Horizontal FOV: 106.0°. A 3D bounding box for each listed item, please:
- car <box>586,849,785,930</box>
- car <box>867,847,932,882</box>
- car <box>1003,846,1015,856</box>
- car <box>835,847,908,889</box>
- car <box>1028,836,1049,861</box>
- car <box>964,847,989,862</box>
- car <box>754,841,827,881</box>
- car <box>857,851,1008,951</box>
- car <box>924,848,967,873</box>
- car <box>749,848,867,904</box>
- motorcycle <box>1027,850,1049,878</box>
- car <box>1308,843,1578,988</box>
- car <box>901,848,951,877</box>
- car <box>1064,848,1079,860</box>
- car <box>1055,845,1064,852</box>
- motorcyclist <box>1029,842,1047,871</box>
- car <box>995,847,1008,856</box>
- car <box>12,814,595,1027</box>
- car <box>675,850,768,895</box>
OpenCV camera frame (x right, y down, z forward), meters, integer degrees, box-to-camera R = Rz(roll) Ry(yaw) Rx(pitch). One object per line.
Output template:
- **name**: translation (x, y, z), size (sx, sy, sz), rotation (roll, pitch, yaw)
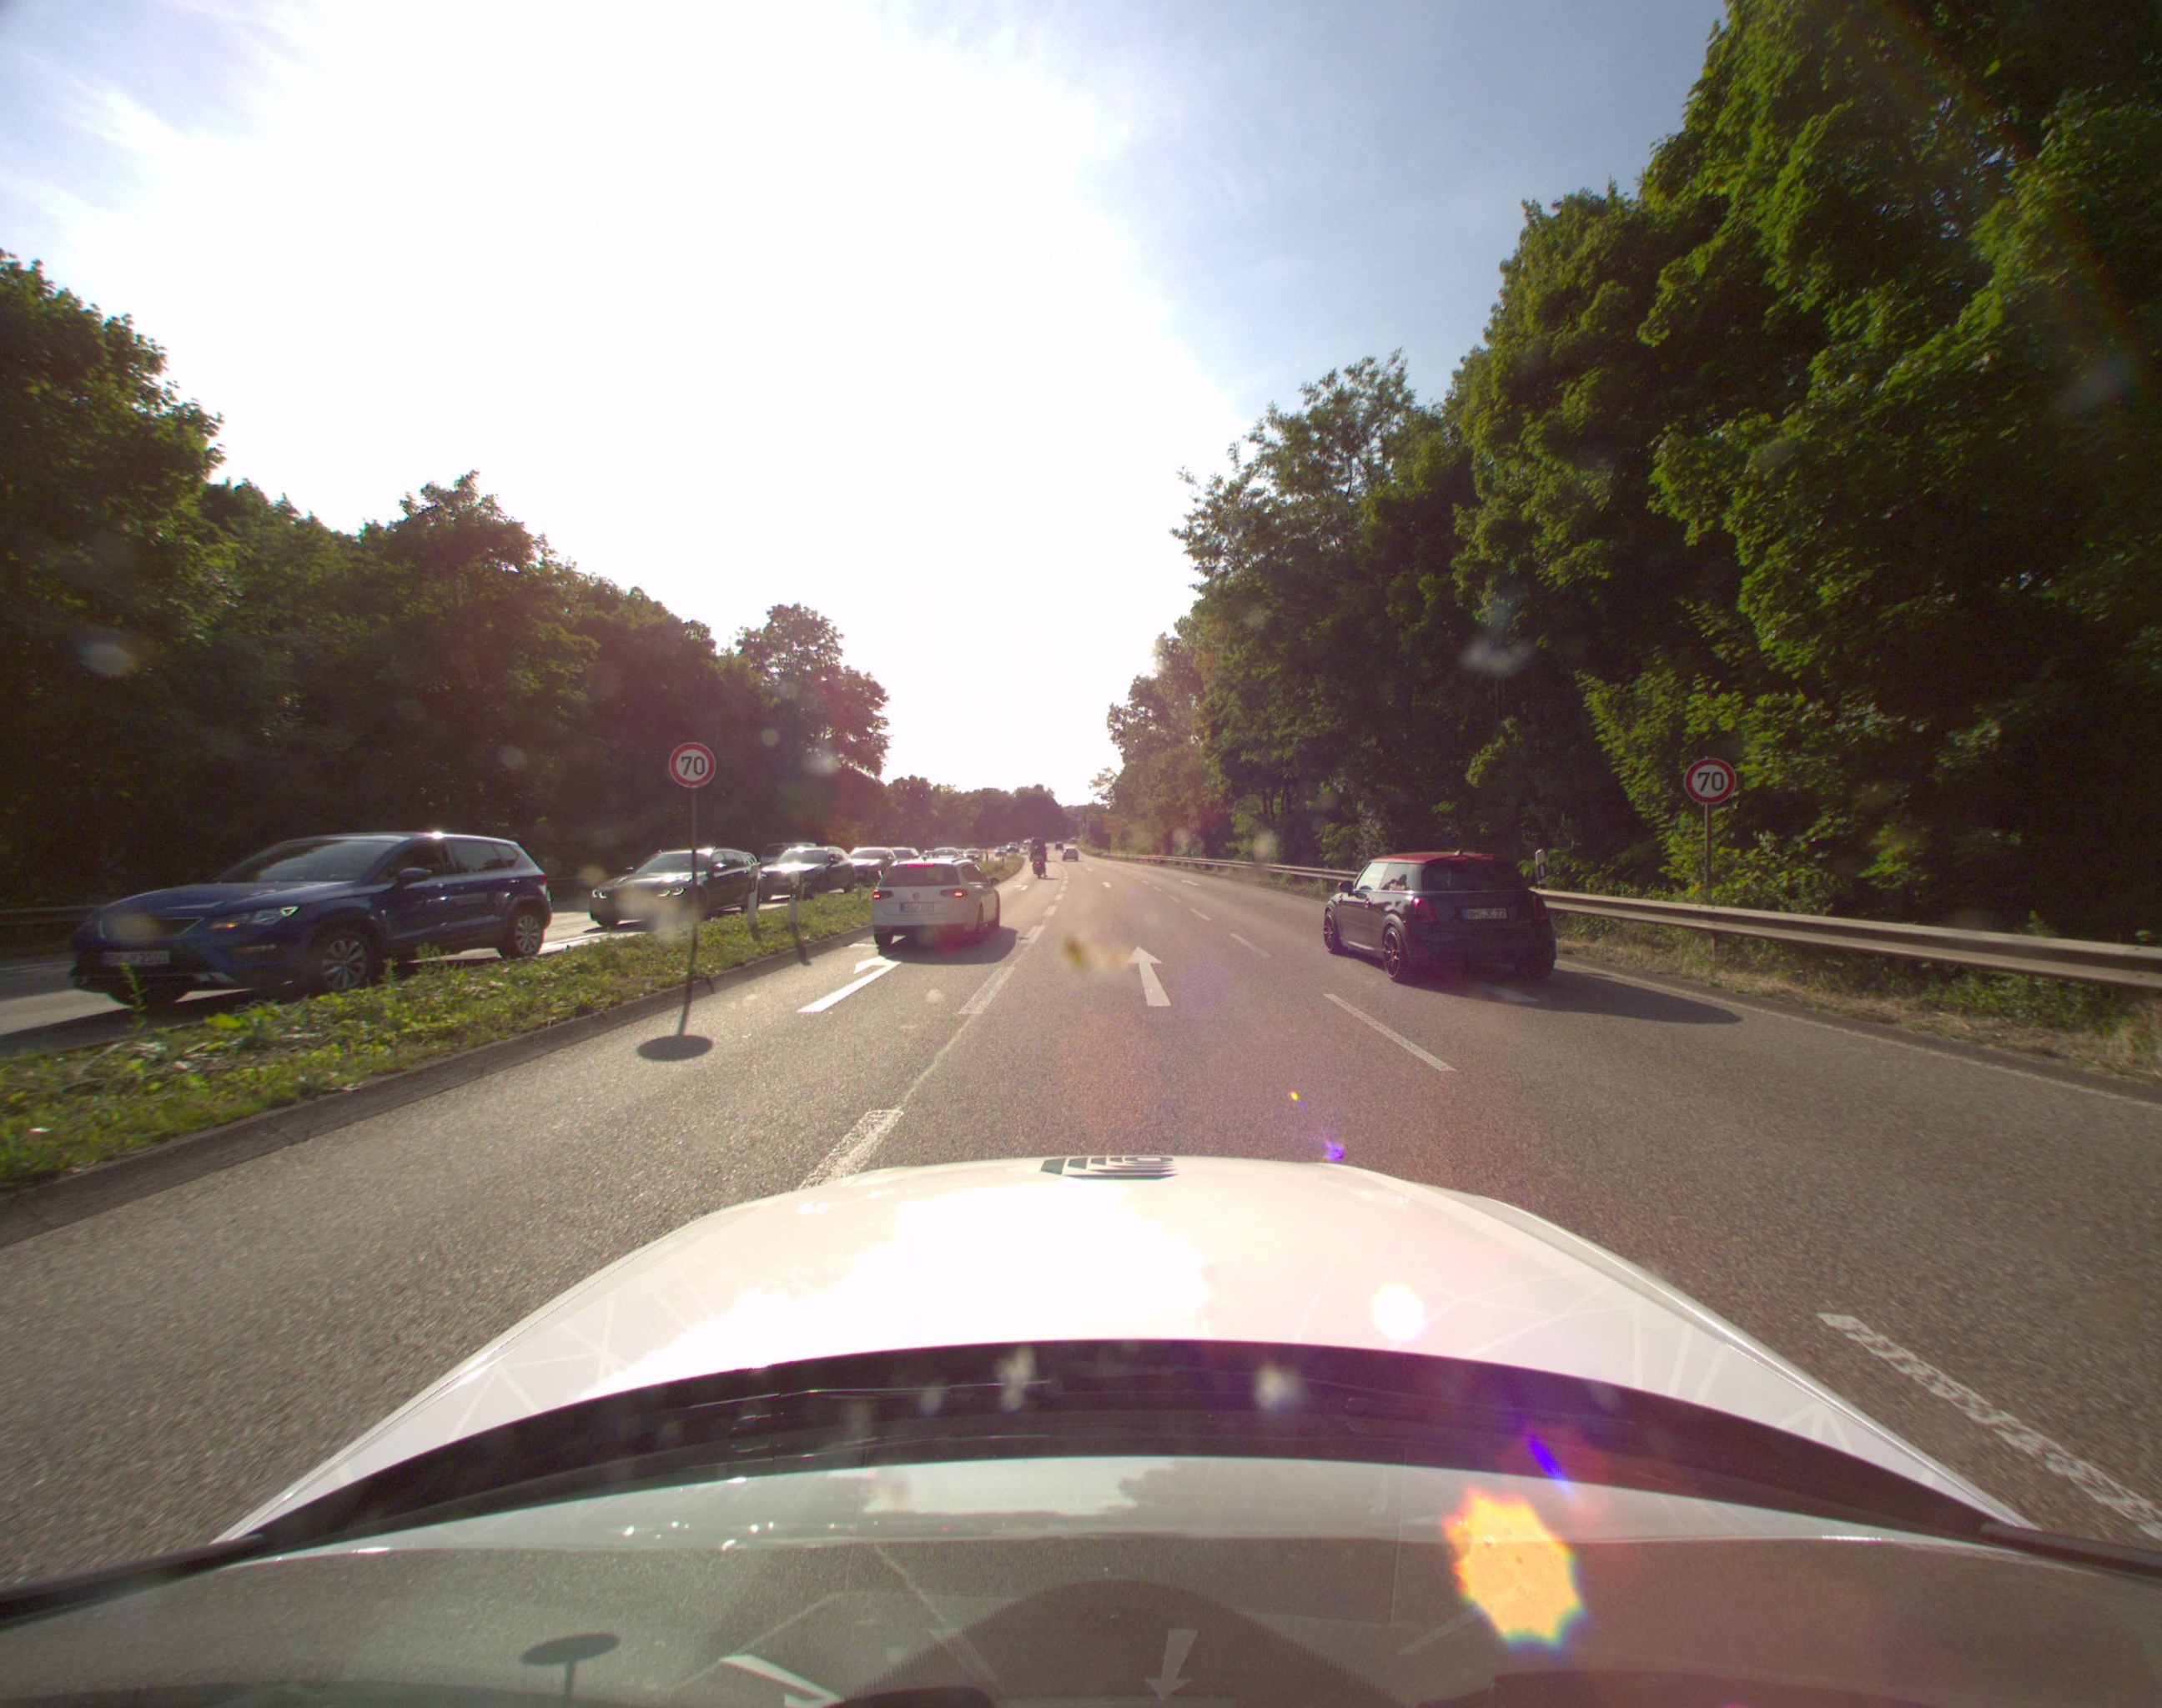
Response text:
- **car**: translation (-7.950, 0.613, 16.969), size (1.766, 1.379, 4.842), rotation (-1, 1, 0)
- **car**: translation (-8.124, 0.429, 36.910), size (1.761, 1.423, 5.192), rotation (-1, 1, 0)
- **car**: translation (-13.361, -0.515, 150.785), size (2.071, 1.763, 4.751), rotation (-2, 1, -3)
- **car**: translation (-7.957, 0.493, 31.249), size (1.701, 1.423, 4.210), rotation (-1, 1, -1)
- **car**: translation (-5.228, -0.652, 100.036), size (2.203, 2.888, 7.009), rotation (-1, 1, -1)
- **car**: translation (-12.102, 0.043, 94.866), size (2.096, 1.708, 6.223), rotation (-1, 0, 0)
- **car**: translation (-15.077, 0.317, 42.570), size (2.005, 1.935, 5.100), rotation (-1, 0, -1)
- **car**: translation (-2.573, 0.733, 15.295), size (1.863, 1.521, 4.835), rotation (1, 1, 1)
- **car**: translation (-8.322, 0.371, 50.325), size (1.862, 1.417, 4.414), rotation (-1, 1, -1)
- **car**: translation (-7.928, 0.570, 24.250), size (1.766, 1.423, 5.191), rotation (-1, 1, 0)
- **motorcycle**: translation (-2.386, 0.547, 45.399), size (0.905, 1.453, 2.690), rotation (-3, 1, 1)
- **car**: translation (4.329, 0.630, 10.468), size (1.813, 1.467, 3.874), rotation (-2, 1, 2)
- **car**: translation (-8.146, 0.417, 43.161), size (1.761, 1.417, 4.433), rotation (-1, 1, -1)
- **car**: translation (-1.175, 0.033, 98.773), size (1.755, 1.380, 3.971), rotation (-1, 0, 0)
- **car**: translation (-4.464, -1.137, 170.364), size (1.741, 1.537, 3.920), rotation (1, 1, -5)
- **motorcyclist**: translation (-2.410, 0.138, 45.387), size (0.880, 1.616, 1.291), rotation (1, 0, 1)
- **car**: translation (-12.458, -0.409, 127.783), size (1.784, 1.411, 4.222), rotation (-1, 0, -3)
- **car**: translation (-7.683, 0.504, 8.959), size (1.766, 1.669, 4.799), rotation (-1, 1, 0)
- **car**: translation (-12.030, 0.580, 27.513), size (1.541, 1.384, 3.617), rotation (-1, 0, -1)
